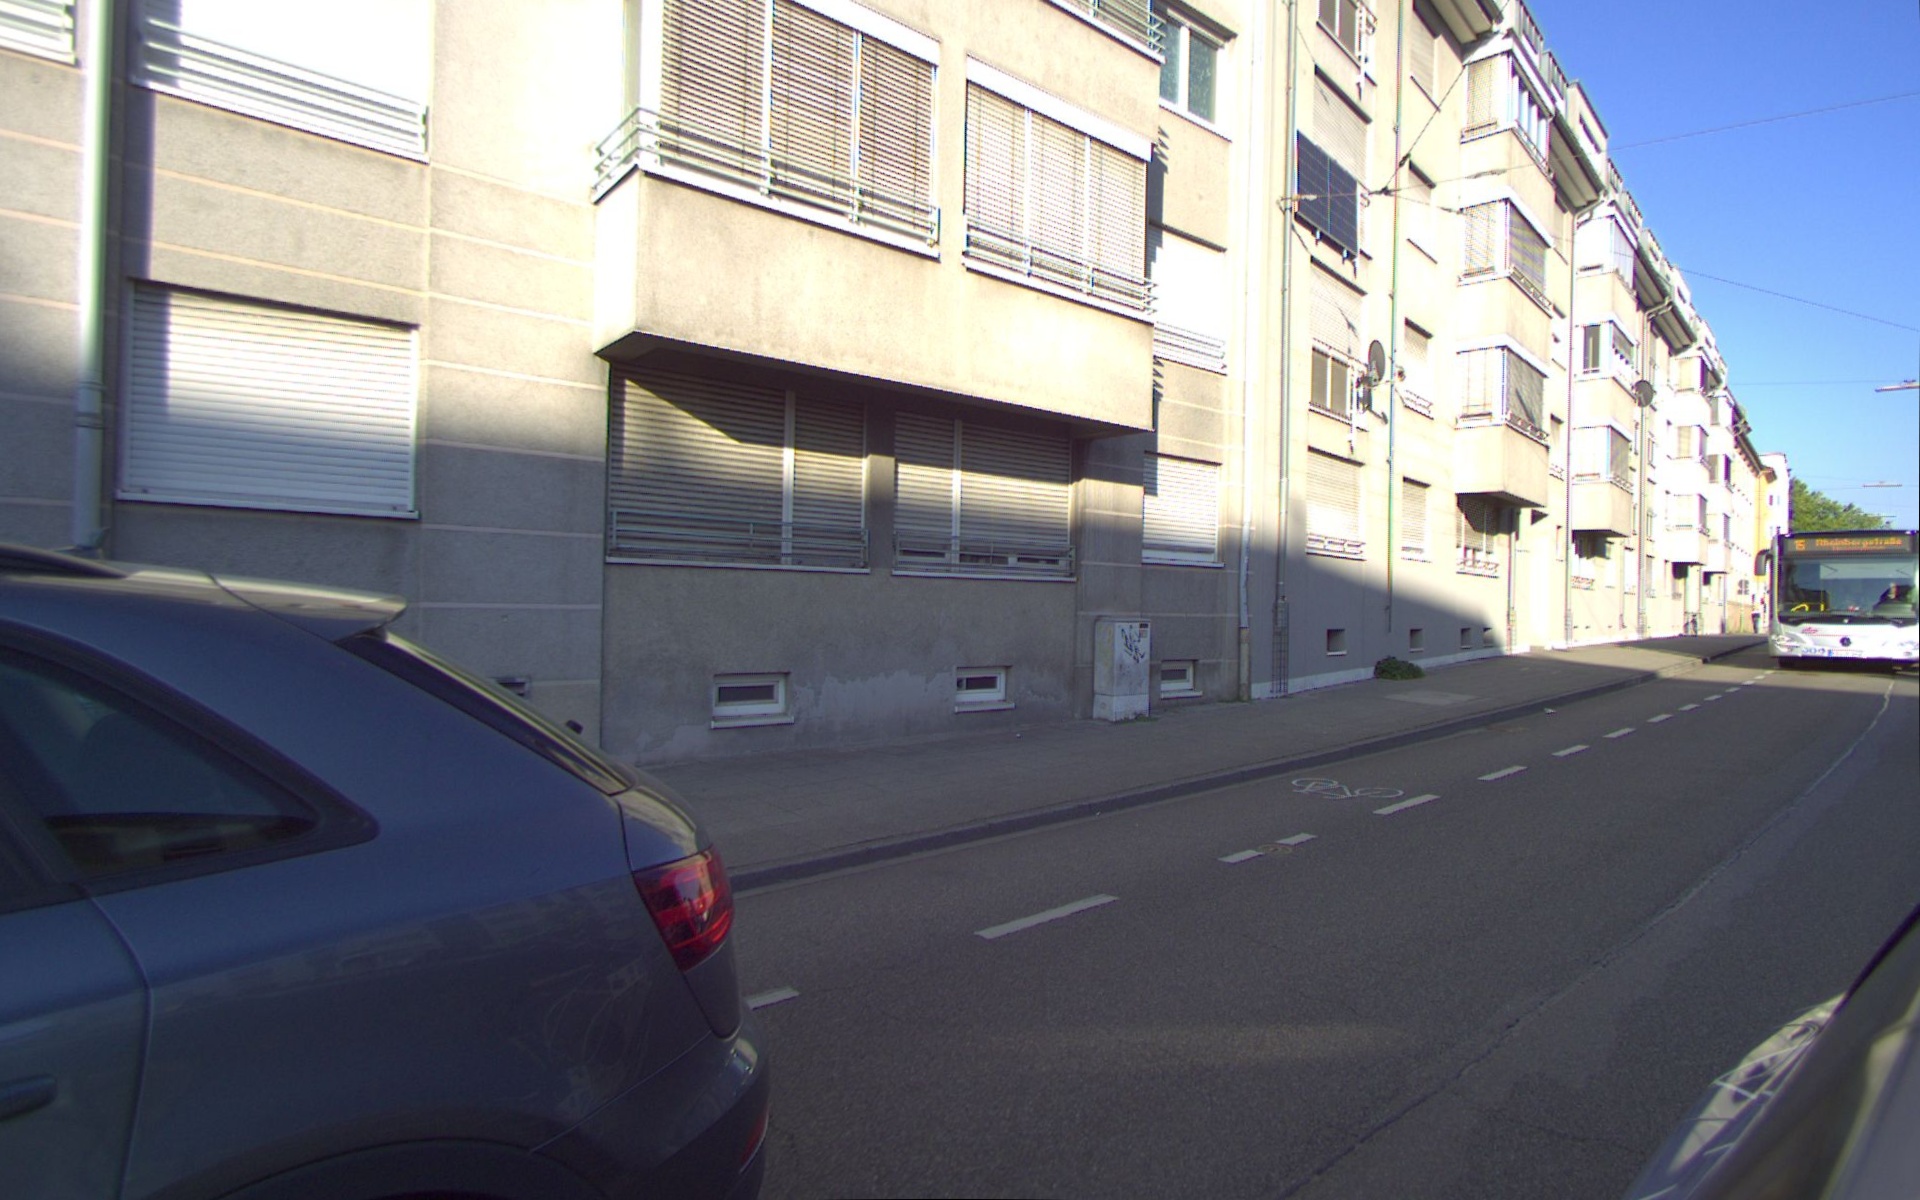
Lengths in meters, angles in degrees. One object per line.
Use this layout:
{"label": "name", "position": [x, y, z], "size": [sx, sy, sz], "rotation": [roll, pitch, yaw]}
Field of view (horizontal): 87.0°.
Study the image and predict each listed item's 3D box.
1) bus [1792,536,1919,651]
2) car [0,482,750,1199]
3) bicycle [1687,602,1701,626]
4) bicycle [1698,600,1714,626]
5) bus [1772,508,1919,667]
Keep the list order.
{"label": "bus", "position": [28.436, -0.161, 32.198], "size": [2.703, 3.116, 10.440], "rotation": [1, 0, 41]}
{"label": "car", "position": [-2.399, 0.656, 0.864], "size": [3.998, 1.607, 1.769], "rotation": [1, 0, -42]}
{"label": "bicycle", "position": [31.639, 0.592, 43.605], "size": [0.278, 0.983, 1.704], "rotation": [5, 3, 41]}
{"label": "bicycle", "position": [31.942, 0.559, 43.329], "size": [0.359, 1.044, 1.704], "rotation": [5, 3, 41]}
{"label": "bus", "position": [21.566, -0.230, 24.339], "size": [2.722, 3.116, 10.440], "rotation": [1, 0, 41]}
